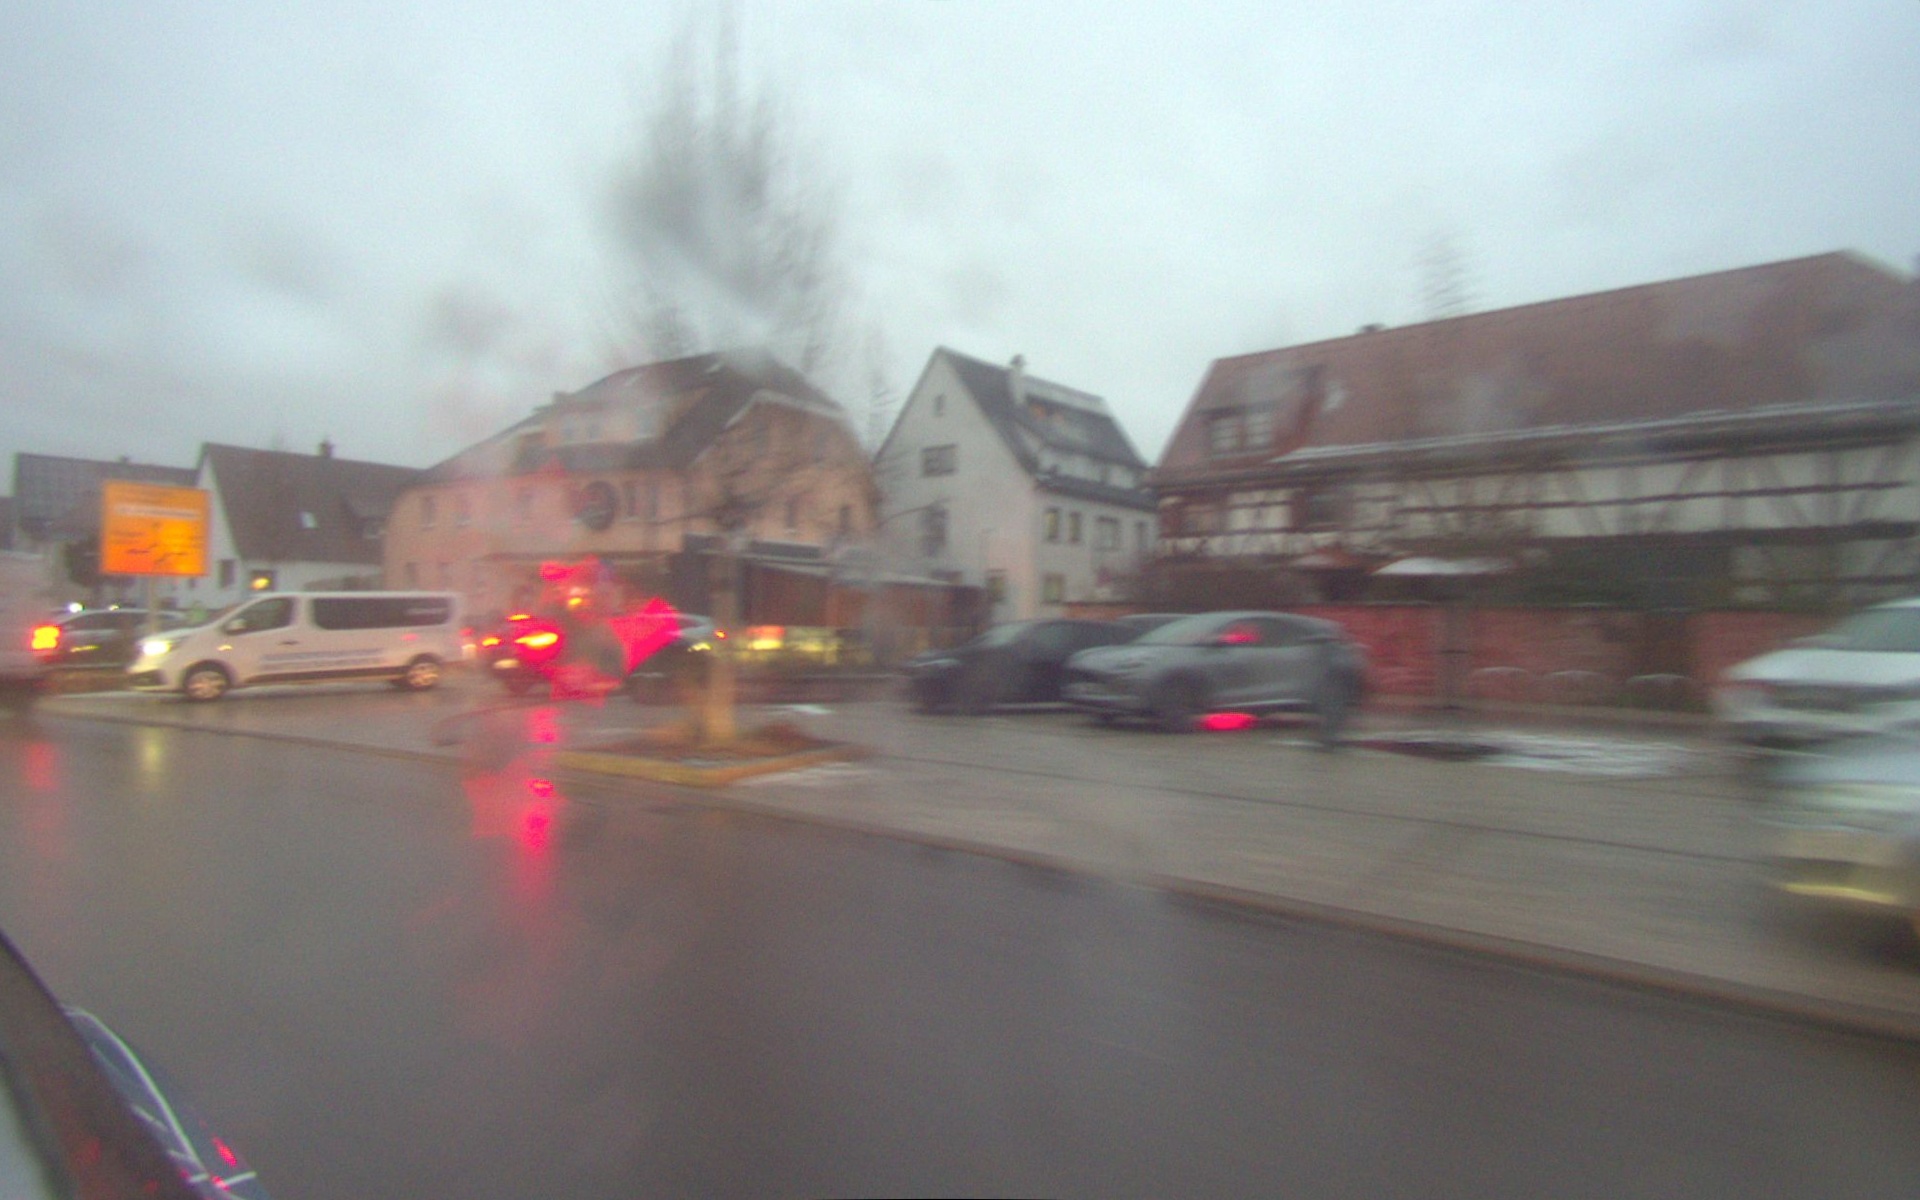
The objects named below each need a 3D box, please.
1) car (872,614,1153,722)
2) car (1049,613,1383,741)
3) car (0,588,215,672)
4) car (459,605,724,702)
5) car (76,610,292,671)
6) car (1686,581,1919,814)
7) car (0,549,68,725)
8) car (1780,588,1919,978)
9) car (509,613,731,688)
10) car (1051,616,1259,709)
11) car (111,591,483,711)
[{"bbox_3d":[0.785,0.996,15.353,3.865,1.470,1.768,1,-3,-22],"label":"car"},{"bbox_3d":[3.359,0.938,13.295,4.003,1.470,1.763,1,-1,-23],"label":"car"},{"bbox_3d":[-19.264,0.669,22.444,1.994,1.697,3.956,-1,-2,32],"label":"car"},{"bbox_3d":[-6.926,0.953,19.469,2.149,1.644,4.399,0,-1,33],"label":"car"},{"bbox_3d":[-23.447,1.240,30.787,1.995,1.697,4.824,-2,-3,34],"label":"car"},{"bbox_3d":[8.833,0.752,8.608,4.576,1.666,1.994,1,-1,-18],"label":"car"},{"bbox_3d":[-16.452,0.566,15.737,6.121,2.509,2.178,-1,-2,32],"label":"car"},{"bbox_3d":[5.811,0.705,3.693,4.248,1.545,1.887,-1,-2,37],"label":"car"},{"bbox_3d":[-8.102,1.255,24.497,1.999,1.648,4.703,-3,-5,42],"label":"car"},{"bbox_3d":[4.005,1.213,21.184,4.000,1.741,1.696,-1,0,43],"label":"car"},{"bbox_3d":[-12.439,0.860,19.322,5.693,1.961,1.992,0,-2,-44],"label":"car"}]
